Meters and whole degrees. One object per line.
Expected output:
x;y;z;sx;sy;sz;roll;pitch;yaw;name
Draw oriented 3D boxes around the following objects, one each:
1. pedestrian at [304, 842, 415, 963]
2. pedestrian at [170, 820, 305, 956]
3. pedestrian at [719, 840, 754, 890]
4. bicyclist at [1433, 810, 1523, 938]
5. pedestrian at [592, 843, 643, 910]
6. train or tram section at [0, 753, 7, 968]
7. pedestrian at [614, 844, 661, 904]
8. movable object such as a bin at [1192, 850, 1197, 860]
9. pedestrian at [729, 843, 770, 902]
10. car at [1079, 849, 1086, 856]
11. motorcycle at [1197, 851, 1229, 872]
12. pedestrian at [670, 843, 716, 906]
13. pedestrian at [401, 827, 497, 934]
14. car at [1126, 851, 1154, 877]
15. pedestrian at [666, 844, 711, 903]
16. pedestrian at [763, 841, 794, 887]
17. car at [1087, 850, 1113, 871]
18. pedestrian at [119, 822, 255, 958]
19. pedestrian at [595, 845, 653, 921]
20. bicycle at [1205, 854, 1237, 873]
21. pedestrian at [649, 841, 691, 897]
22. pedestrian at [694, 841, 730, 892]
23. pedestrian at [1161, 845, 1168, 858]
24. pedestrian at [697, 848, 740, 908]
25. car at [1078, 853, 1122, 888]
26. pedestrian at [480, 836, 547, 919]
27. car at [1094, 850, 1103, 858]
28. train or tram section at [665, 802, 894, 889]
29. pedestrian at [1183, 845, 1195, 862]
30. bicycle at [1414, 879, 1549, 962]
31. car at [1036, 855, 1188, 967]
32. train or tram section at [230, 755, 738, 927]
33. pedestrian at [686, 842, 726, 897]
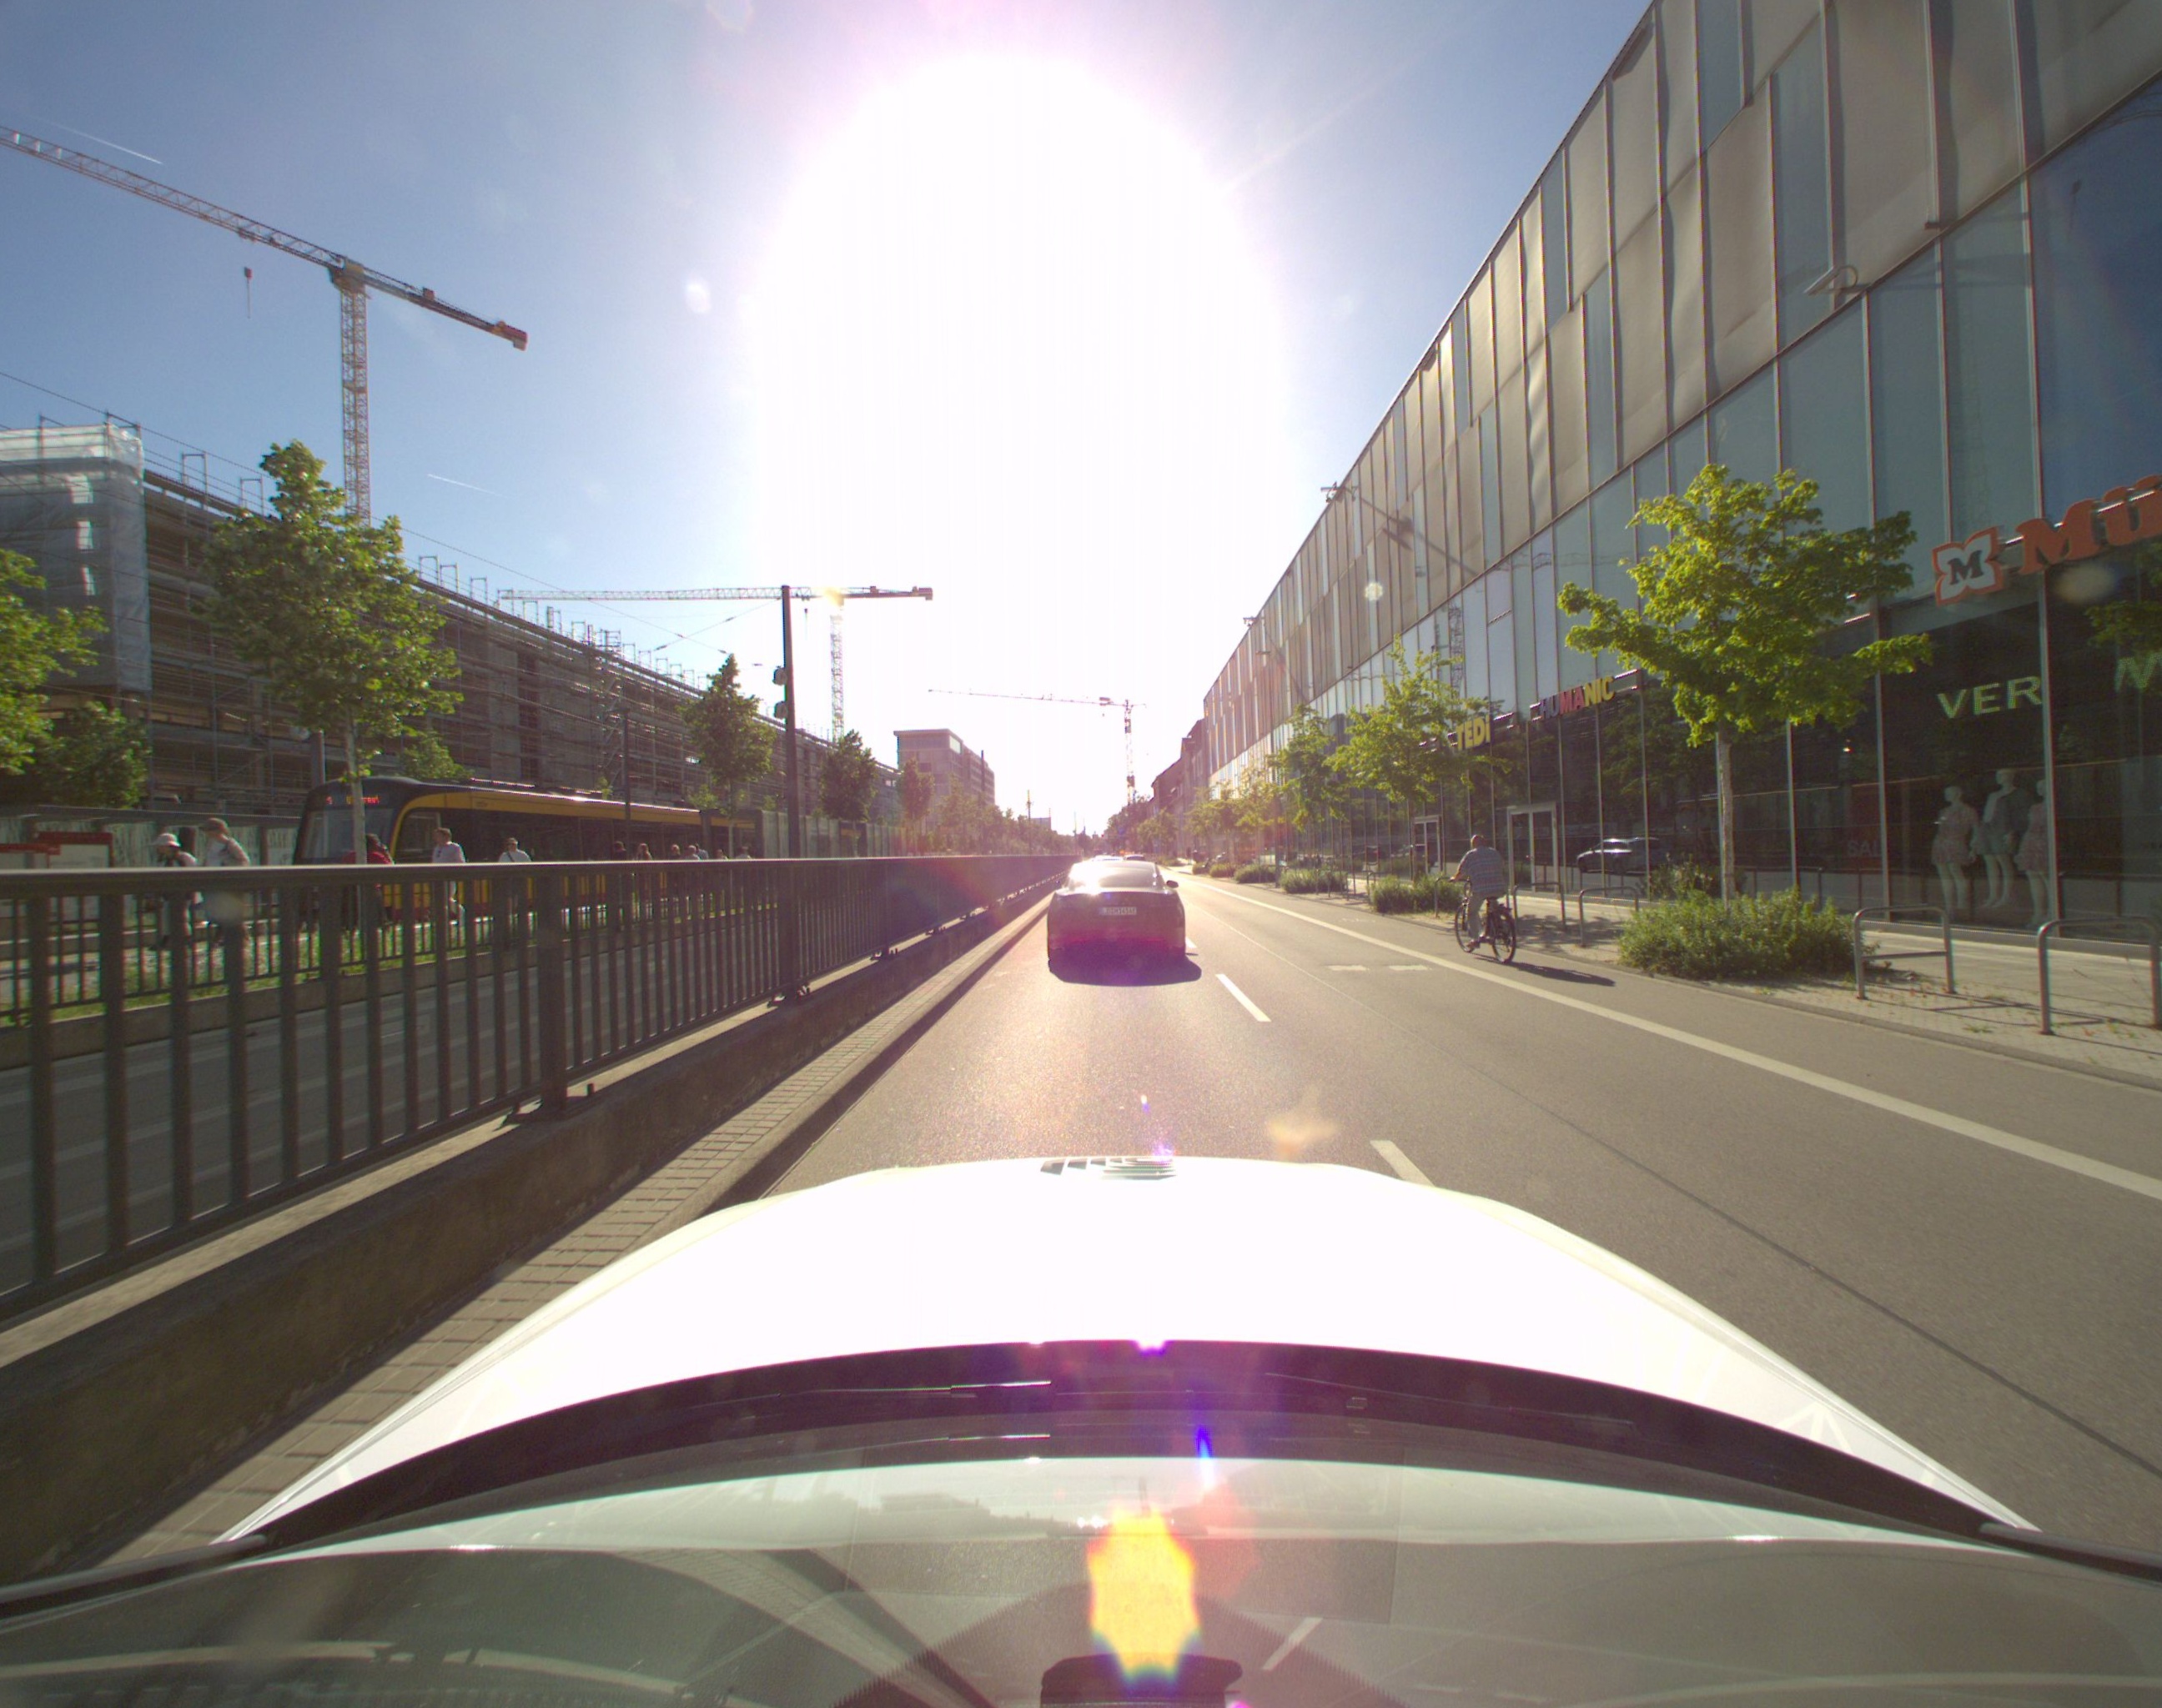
-10.219;0.667;11.568;0.738;1.628;0.862;-2;0;3;pedestrian
-11.876;0.461;11.503;0.767;1.811;1.031;-2;0;1;pedestrian
-11.384;0.353;26.934;0.738;1.628;0.862;-2;0;3;pedestrian
5.678;0.272;11.707;0.723;1.737;0.997;-2;0;-2;bicyclist
-11.684;0.548;20.556;0.738;1.628;0.862;-2;0;3;pedestrian
-18.335;0.116;4.659;2.837;3.321;15.973;0;0;2;train or tram section
-12.246;0.542;22.515;0.738;1.628;0.862;-2;0;3;pedestrian
13.174;0.077;94.196;0.556;1.169;0.563;0;-1;5;movable object such as a bin
-9.406;0.510;23.130;0.738;1.628;0.862;-2;0;3;pedestrian
0.437;-0.450;217.556;1.987;1.684;4.000;0;0;1;car
9.258;0.524;57.087;2.054;1.353;0.656;-5;-1;24;motorcycle
-10.450;0.543;21.945;0.738;1.628;0.862;-2;0;3;pedestrian
-11.435;0.467;14.768;0.883;1.851;1.008;-2;0;2;pedestrian
3.856;0.629;53.721;1.777;1.546;4.042;-2;0;3;car
-11.126;0.539;23.115;0.738;1.628;0.948;-2;0;3;pedestrian
-11.076;0.364;29.879;0.738;1.628;0.862;-2;0;3;pedestrian
1.646;0.531;67.891;1.879;1.596;4.005;-2;0;5;car
-12.628;0.491;11.545;0.669;1.811;1.075;-2;0;1;pedestrian
-10.104;0.632;18.040;0.738;1.628;0.862;-2;0;3;pedestrian
9.029;0.607;52.449;1.881;1.151;0.669;-4;0;-9;bicycle
-12.309;0.453;24.424;0.738;1.628;0.862;-2;0;3;pedestrian
-12.209;0.406;26.965;0.738;1.628;0.862;-2;0;3;pedestrian
12.491;-0.327;121.530;0.848;1.863;0.930;-2;0;0;pedestrian
-10.220;0.664;22.995;0.738;1.628;0.862;-2;0;3;pedestrian
0.856;0.679;34.771;1.709;1.319;4.003;-2;0;3;car
-12.033;0.494;17.285;0.738;1.694;0.862;-2;0;3;pedestrian
3.778;-0.017;180.245;1.806;1.809;4.042;-2;0;3;car
-13.947;-0.359;41.863;2.859;3.279;22.153;0;0;2;train or tram section
11.870;-0.049;89.349;1.091;1.863;1.523;-2;0;0;pedestrian
5.697;0.904;11.776;0.726;0.983;2.331;-1;0;-2;bicycle
0.593;0.765;13.019;1.990;1.434;4.418;-1;0;5;car
-14.626;-0.288;23.178;2.859;3.279;15.192;0;0;2;train or tram section
-11.371;0.467;24.737;0.738;1.628;0.862;-2;0;3;pedestrian
